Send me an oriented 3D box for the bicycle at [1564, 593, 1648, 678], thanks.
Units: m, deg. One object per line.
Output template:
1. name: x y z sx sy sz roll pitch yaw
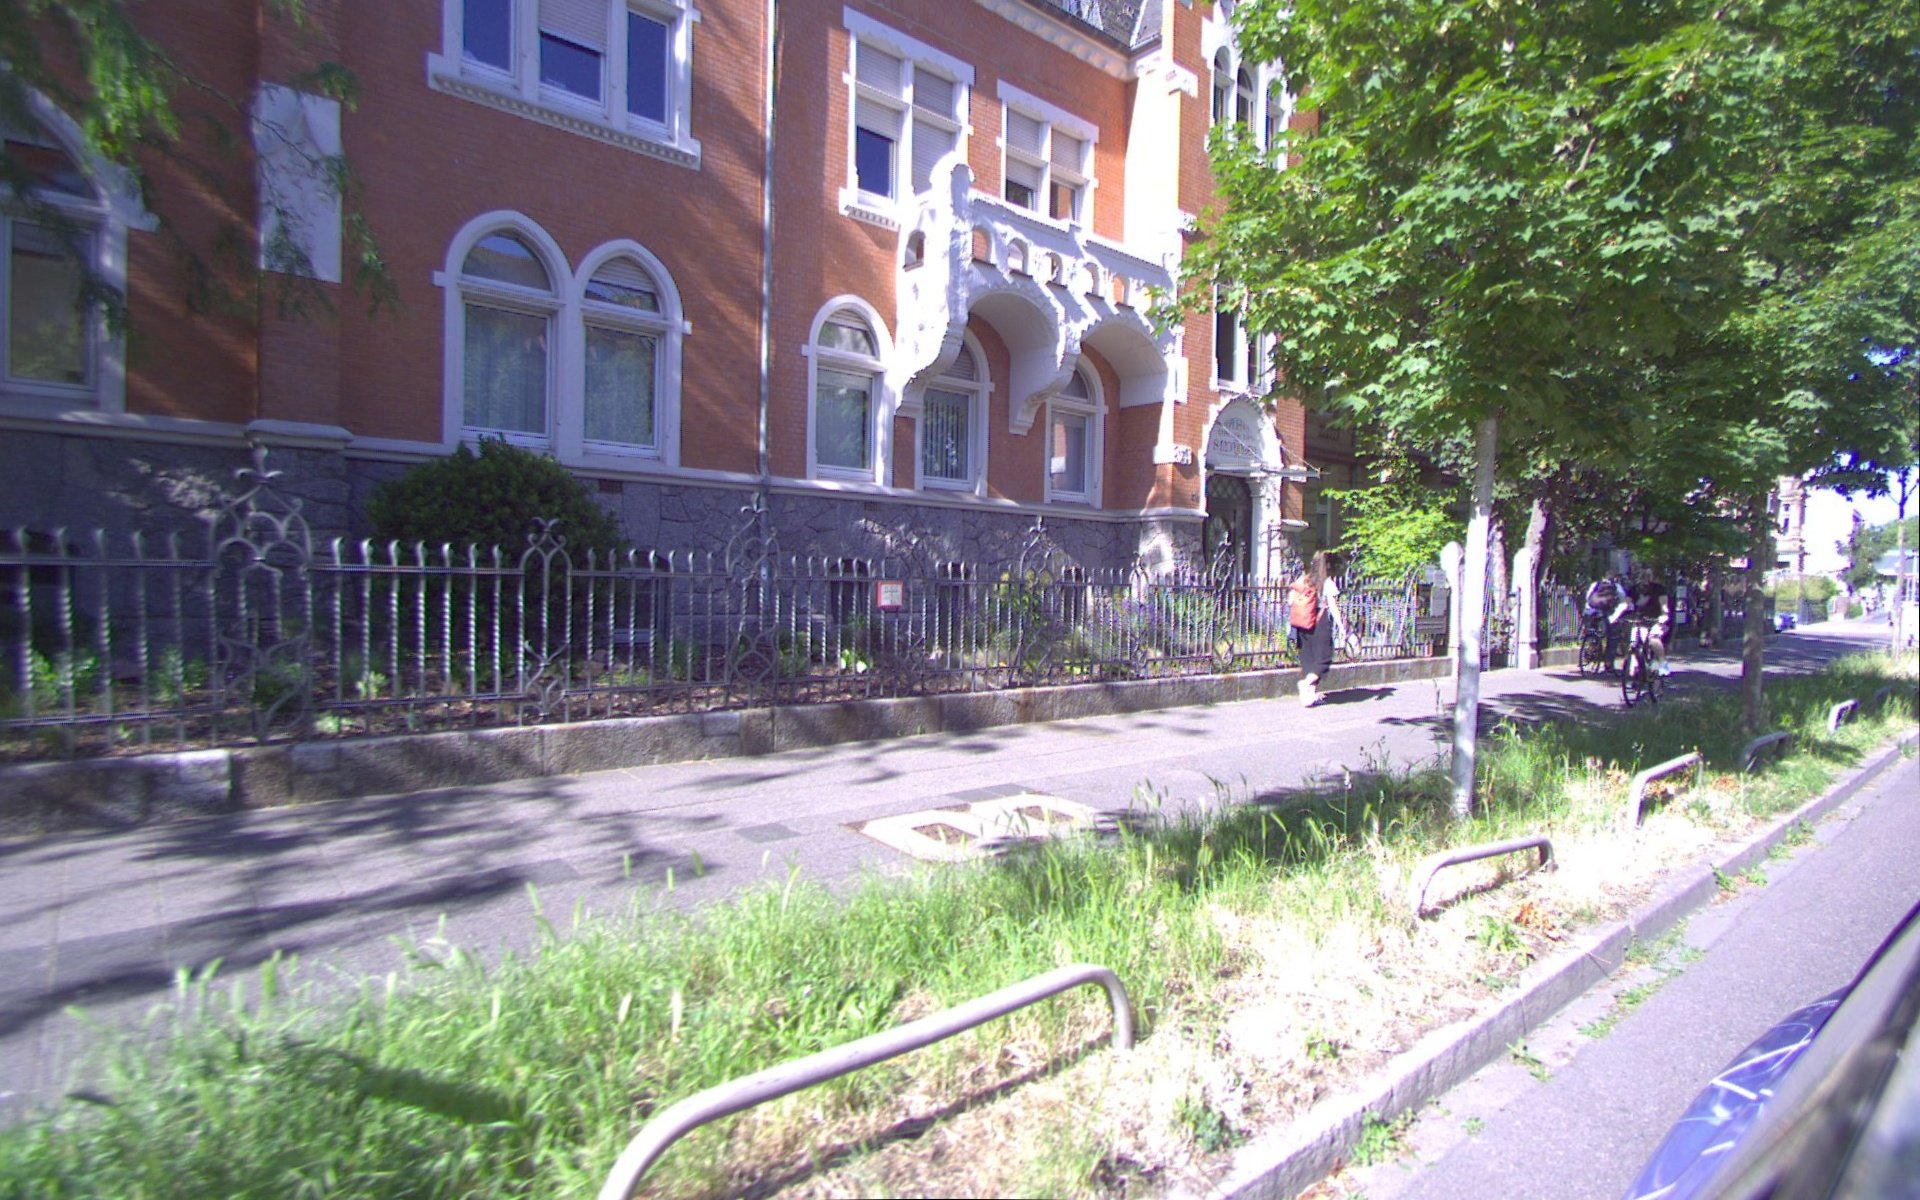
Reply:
1. bicycle: 10.013 0.514 15.668 1.888 1.190 0.616 0 5 -45

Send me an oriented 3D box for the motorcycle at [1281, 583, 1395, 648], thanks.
1. motorcycle: 6.996 0.254 18.840 0.766 1.044 1.884 -1 4 -32

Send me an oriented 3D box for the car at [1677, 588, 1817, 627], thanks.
1. car: 34.020 0.290 43.836 2.010 1.434 4.418 0 3 -39

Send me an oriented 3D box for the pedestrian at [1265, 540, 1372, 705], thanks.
1. pedestrian: 3.893 0.217 10.990 0.806 1.678 0.696 -1 5 -42

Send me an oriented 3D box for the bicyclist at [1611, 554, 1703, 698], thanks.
1. bicyclist: 8.794 0.308 12.769 0.874 1.715 0.647 1 4 -42

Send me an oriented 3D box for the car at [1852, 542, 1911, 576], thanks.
1. car: 44.676 -1.976 49.020 4.039 1.458 1.844 0 4 -45

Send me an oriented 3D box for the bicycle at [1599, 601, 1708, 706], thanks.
1. bicycle: 8.799 0.640 12.808 1.811 1.190 0.654 0 4 -42

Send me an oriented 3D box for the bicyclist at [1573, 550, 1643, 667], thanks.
1. bicyclist: 9.982 0.118 15.593 0.807 1.710 0.621 0 4 -45

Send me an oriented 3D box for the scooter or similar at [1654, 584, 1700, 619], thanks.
1. scooter or similar: 26.979 0.059 38.093 1.380 1.278 0.762 1 3 -25
